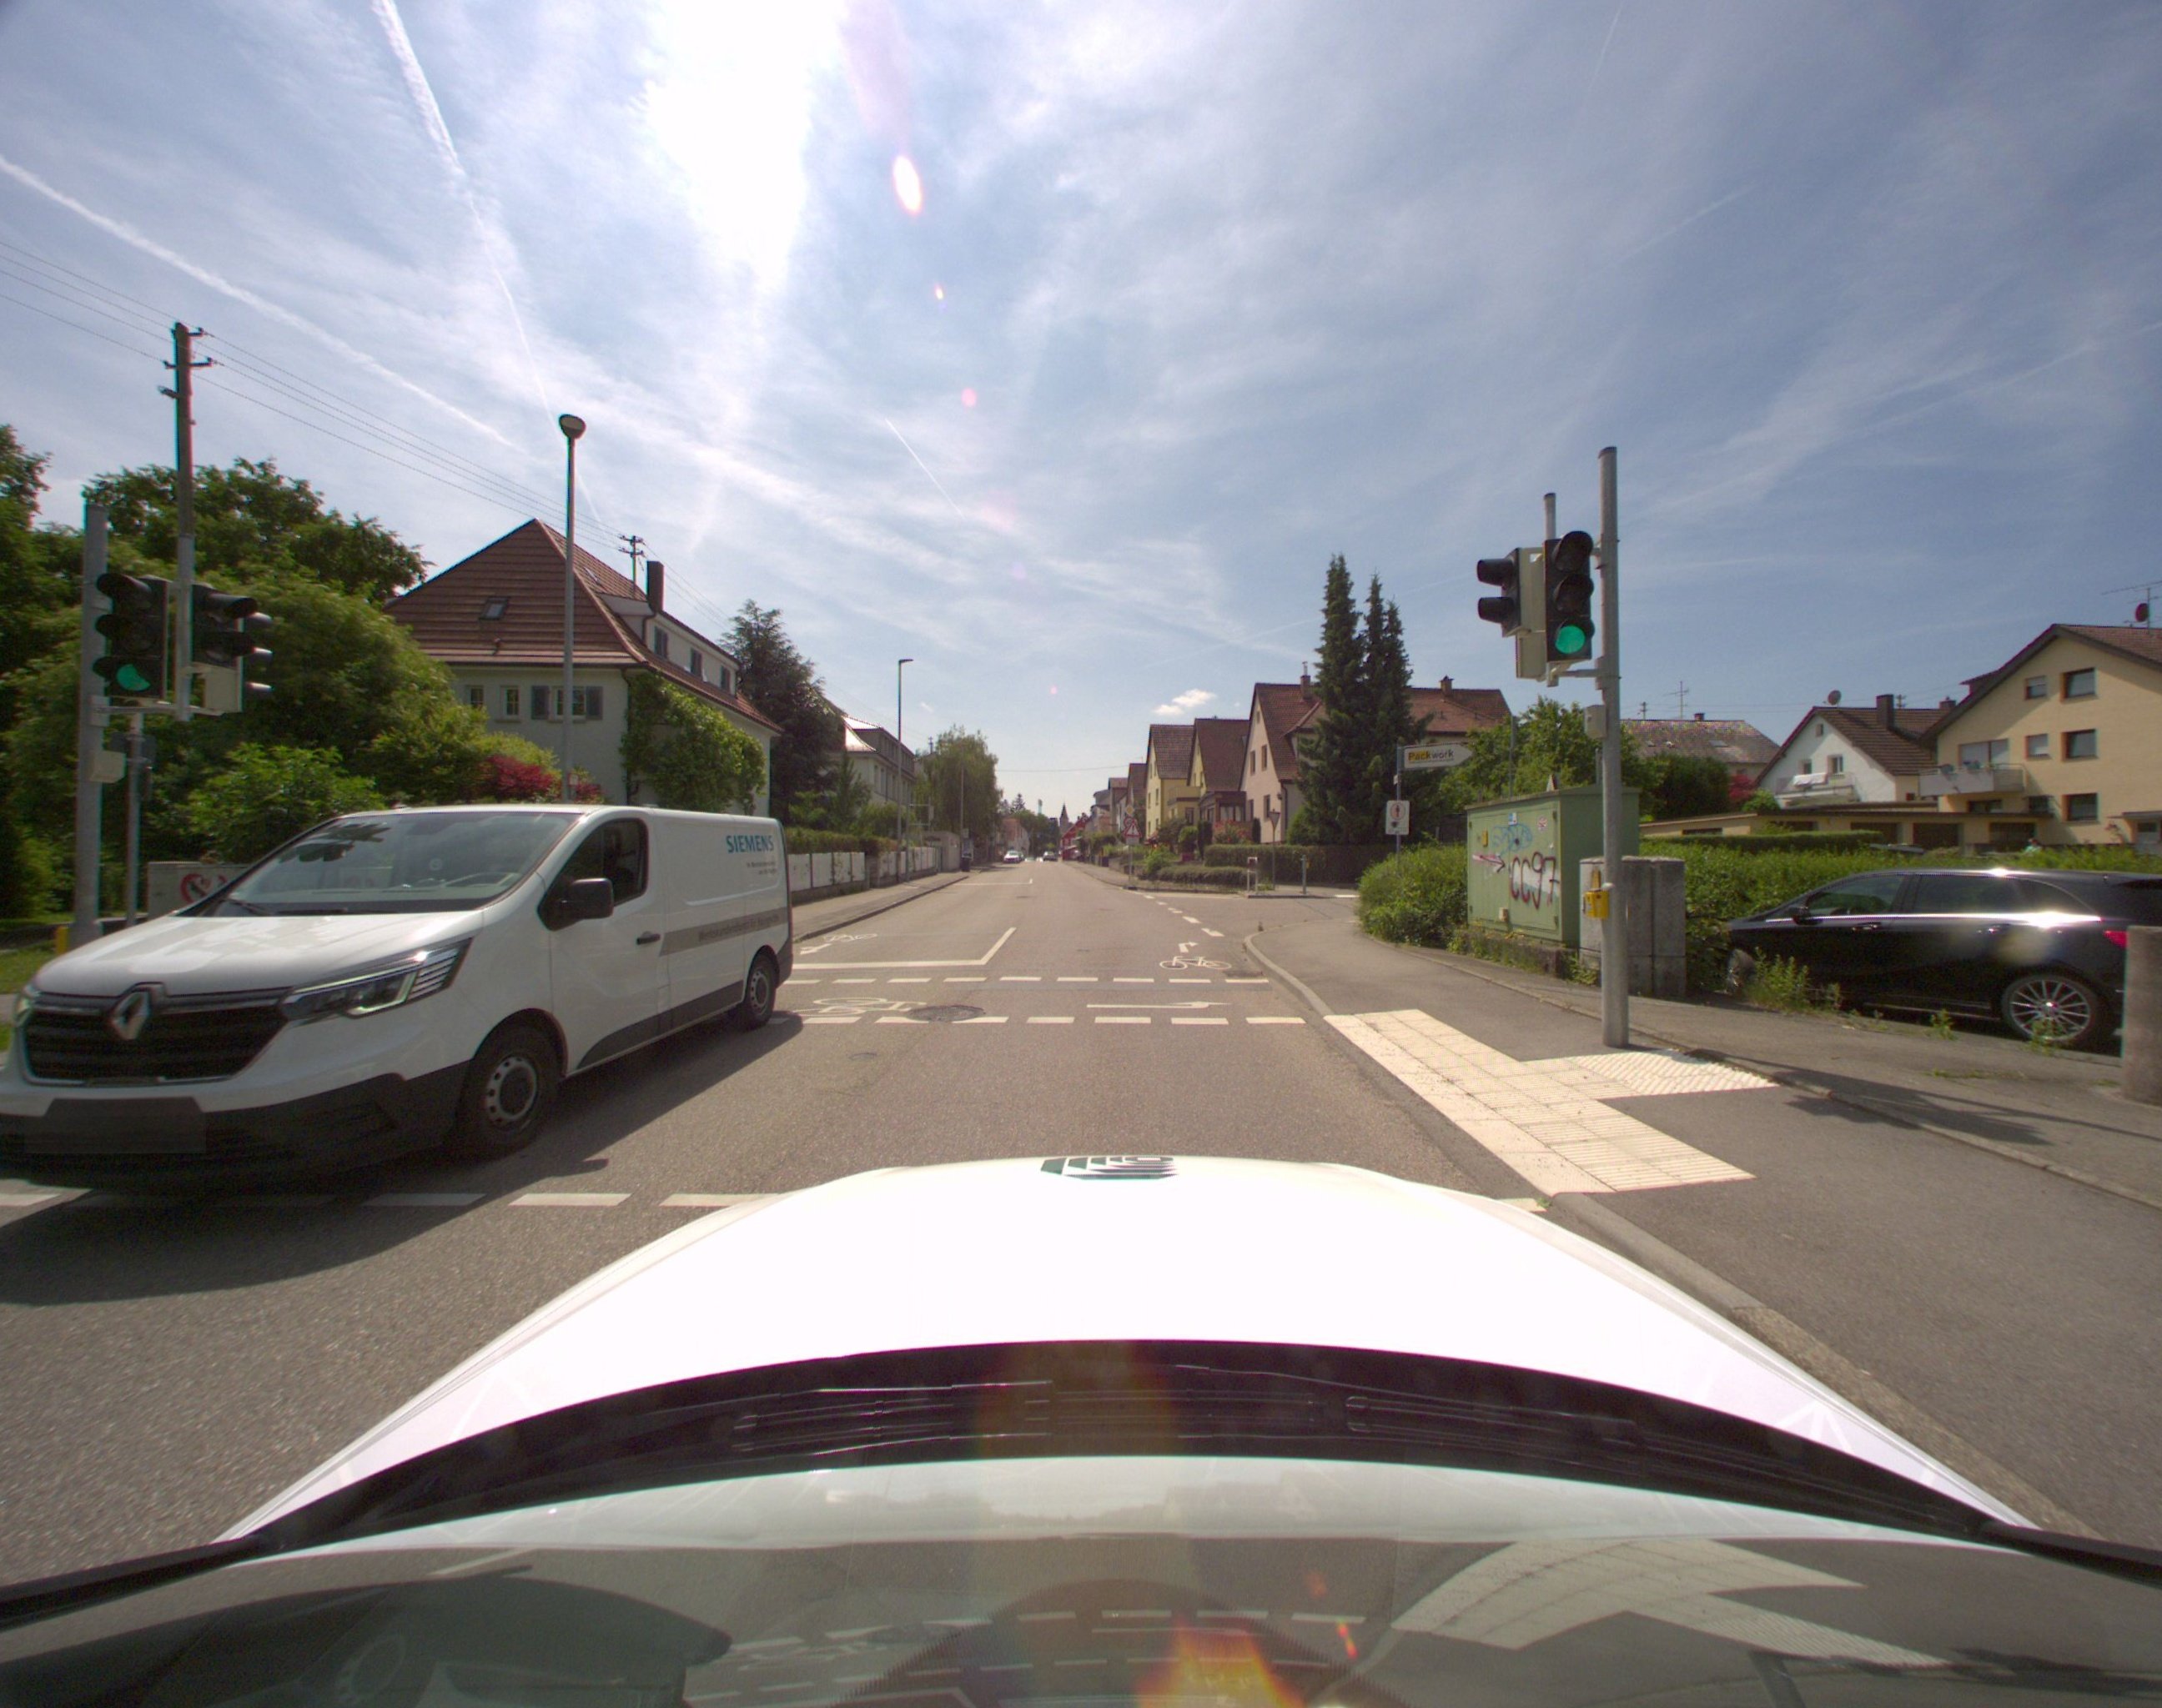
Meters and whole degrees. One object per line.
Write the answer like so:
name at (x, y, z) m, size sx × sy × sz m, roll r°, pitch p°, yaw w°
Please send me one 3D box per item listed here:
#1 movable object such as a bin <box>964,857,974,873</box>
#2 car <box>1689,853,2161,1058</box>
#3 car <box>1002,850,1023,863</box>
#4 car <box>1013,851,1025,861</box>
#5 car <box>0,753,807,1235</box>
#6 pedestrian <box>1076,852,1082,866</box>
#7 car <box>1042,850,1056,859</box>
movable object such as a bin at (-7.928, 0.762, 57.569) m, size 0.606 × 1.046 × 0.724 m, roll 1°, pitch 2°, yaw -3°
car at (8.702, 0.882, 8.230) m, size 1.710 × 1.552 × 4.050 m, roll 3°, pitch -3°, yaw -10°
car at (-8.320, 0.262, 99.292) m, size 2.103 × 1.560 × 4.315 m, roll 0°, pitch 0°, yaw 1°
car at (-10.264, 0.325, 134.933) m, size 1.989 × 1.560 × 4.308 m, roll -1°, pitch 0°, yaw -4°
car at (-3.819, 0.589, 5.829) m, size 1.872 × 1.965 × 4.905 m, roll -1°, pitch 0°, yaw 2°
pedestrian at (-0.270, 0.581, 99.995) m, size 0.645 × 1.729 × 0.608 m, roll -2°, pitch 1°, yaw -3°
car at (-5.288, 0.061, 135.382) m, size 1.991 × 1.560 × 4.304 m, roll 0°, pitch 0°, yaw -6°
